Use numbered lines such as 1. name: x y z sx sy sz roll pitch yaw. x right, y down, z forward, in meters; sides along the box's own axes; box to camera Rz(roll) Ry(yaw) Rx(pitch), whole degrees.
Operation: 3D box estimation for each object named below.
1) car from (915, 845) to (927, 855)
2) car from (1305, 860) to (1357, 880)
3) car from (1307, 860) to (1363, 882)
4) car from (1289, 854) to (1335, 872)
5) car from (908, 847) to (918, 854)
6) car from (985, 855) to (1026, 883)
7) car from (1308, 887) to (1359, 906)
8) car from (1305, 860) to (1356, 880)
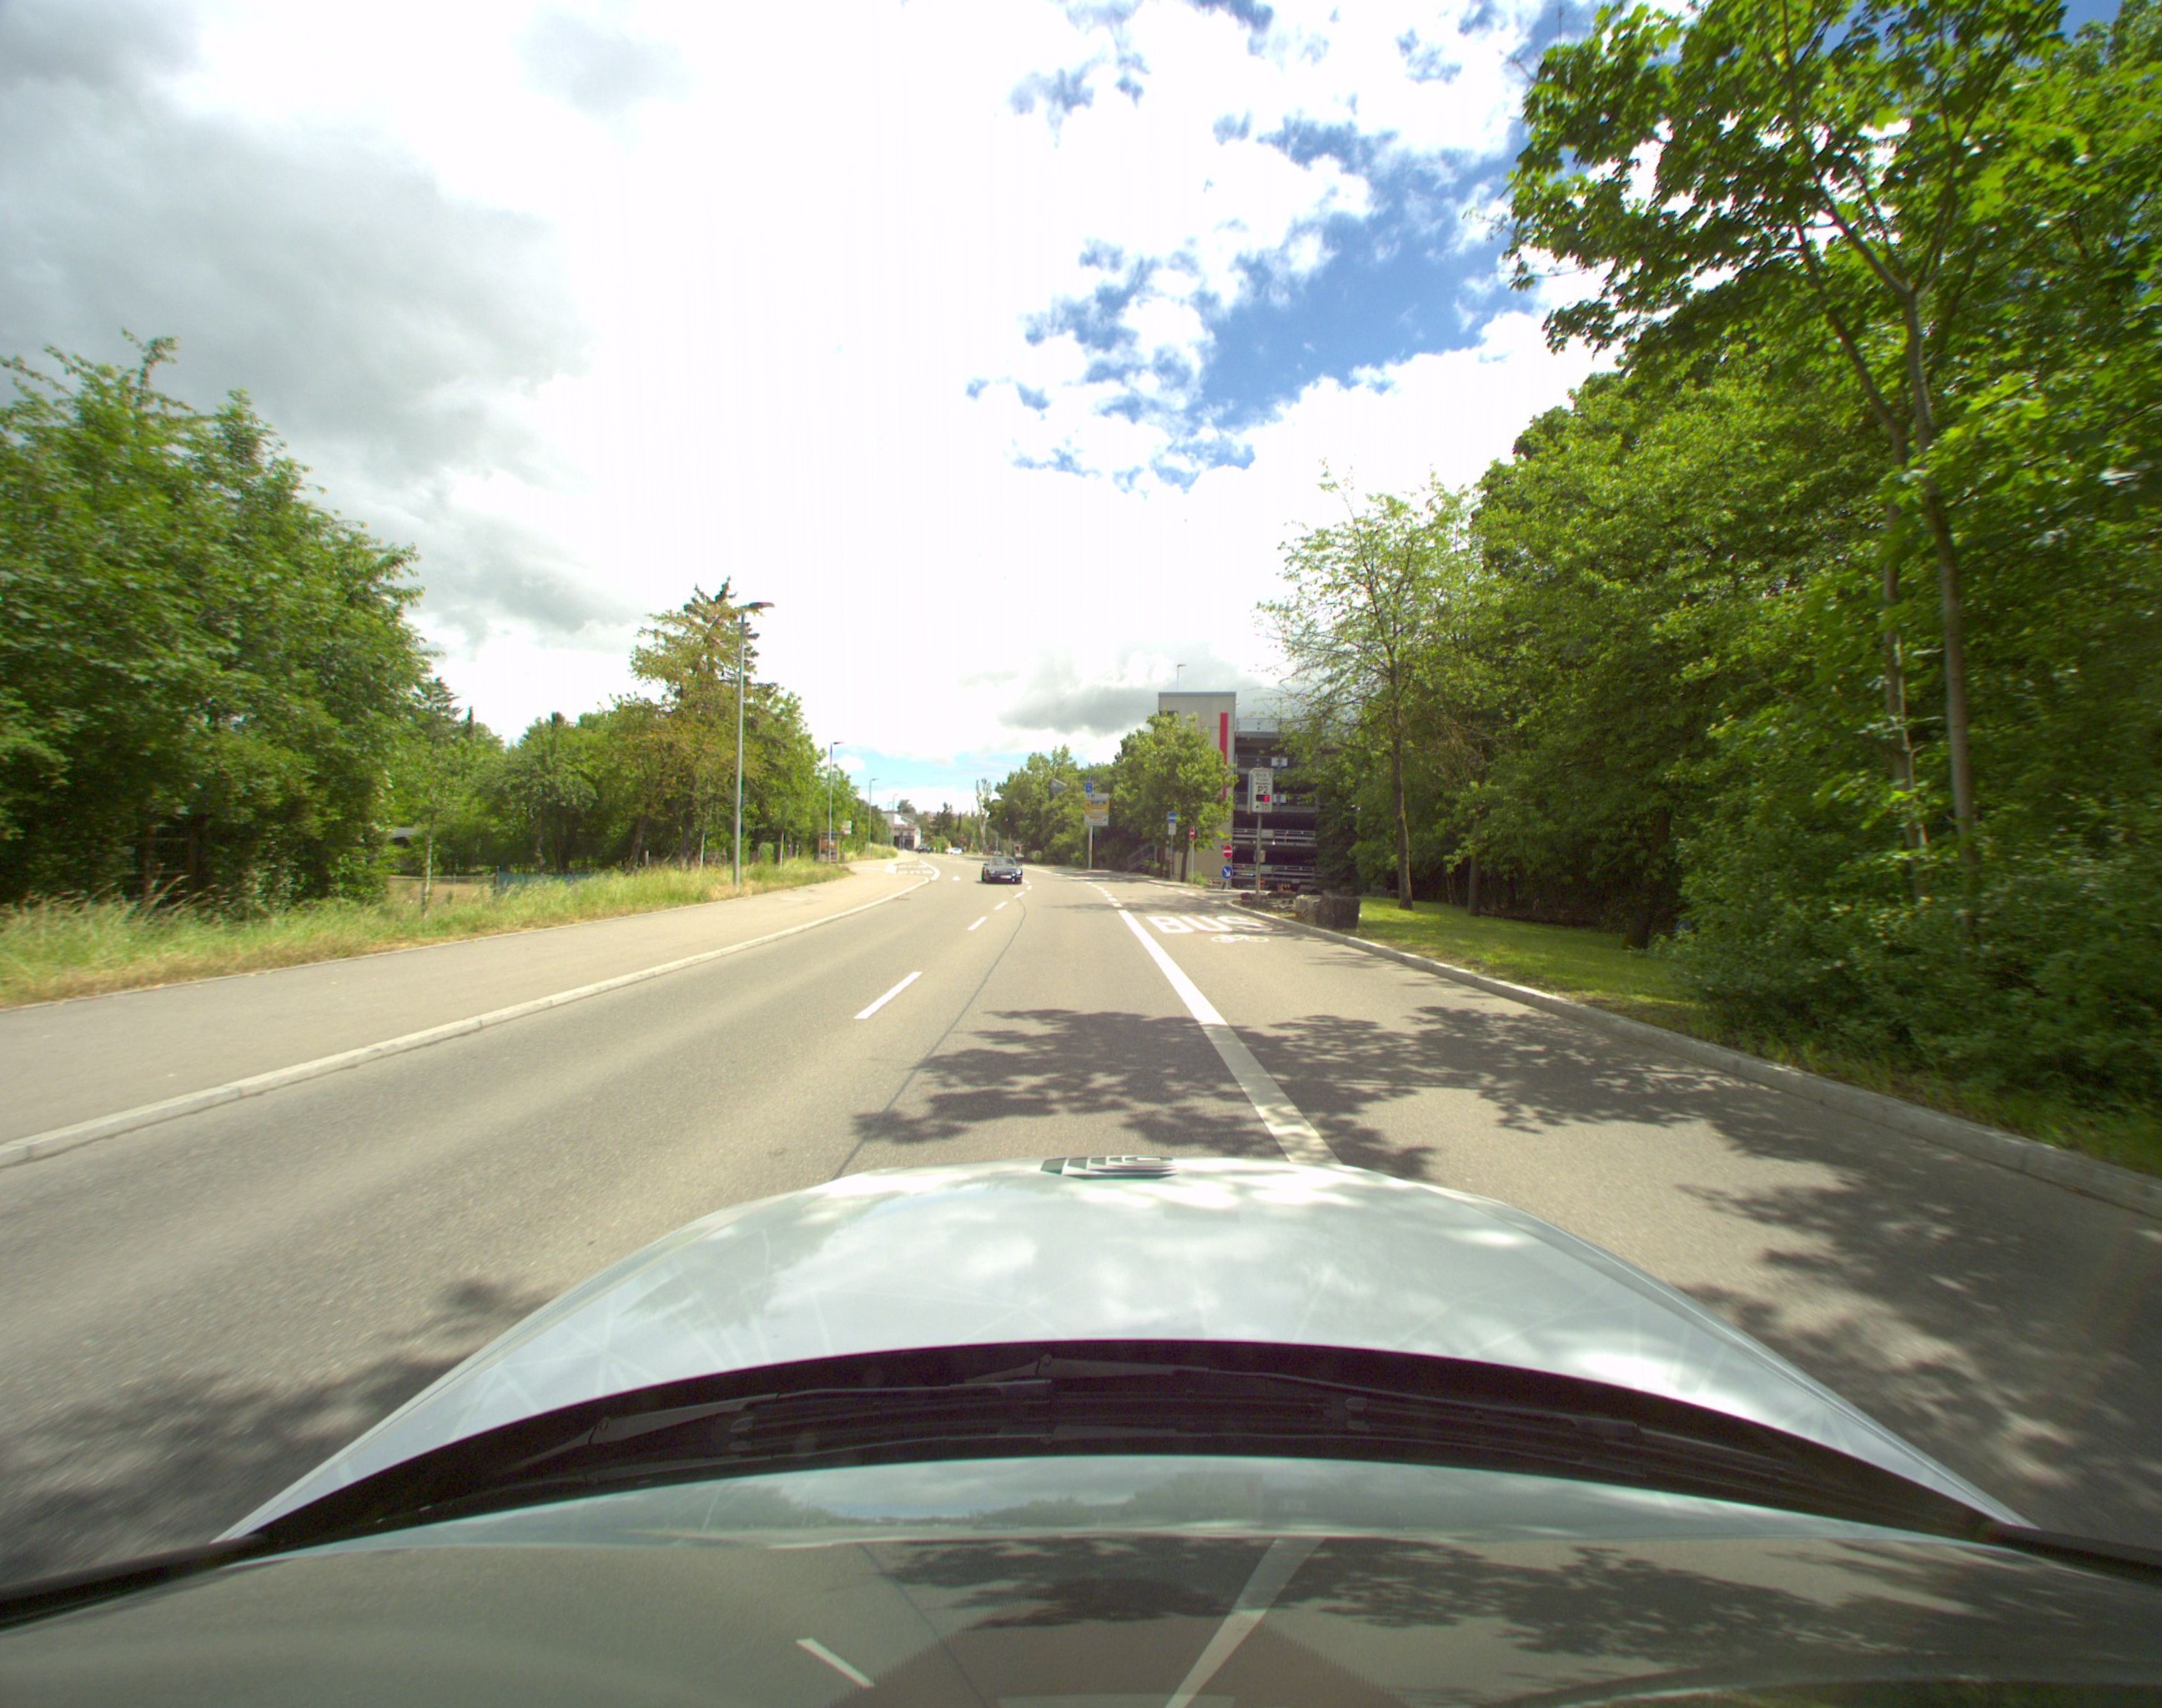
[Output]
1. car: -27.827 -0.718 141.818 1.825 1.557 4.606 0 1 -14
2. car: 21.923 1.373 71.468 4.282 1.630 2.008 2 0 15
3. car: 20.801 1.356 66.948 4.282 1.630 2.008 2 0 15
4. car: 22.754 0.904 80.368 4.282 1.630 2.008 2 0 15
5. car: -33.304 -0.711 161.671 1.769 1.442 4.355 1 0 -15
6. car: -3.665 0.700 40.100 1.730 1.301 4.001 1 0 -2
7. car: 22.732 3.803 73.385 4.282 1.489 2.008 2 0 15
8. car: 22.476 1.406 73.470 4.282 1.630 2.008 2 0 15
